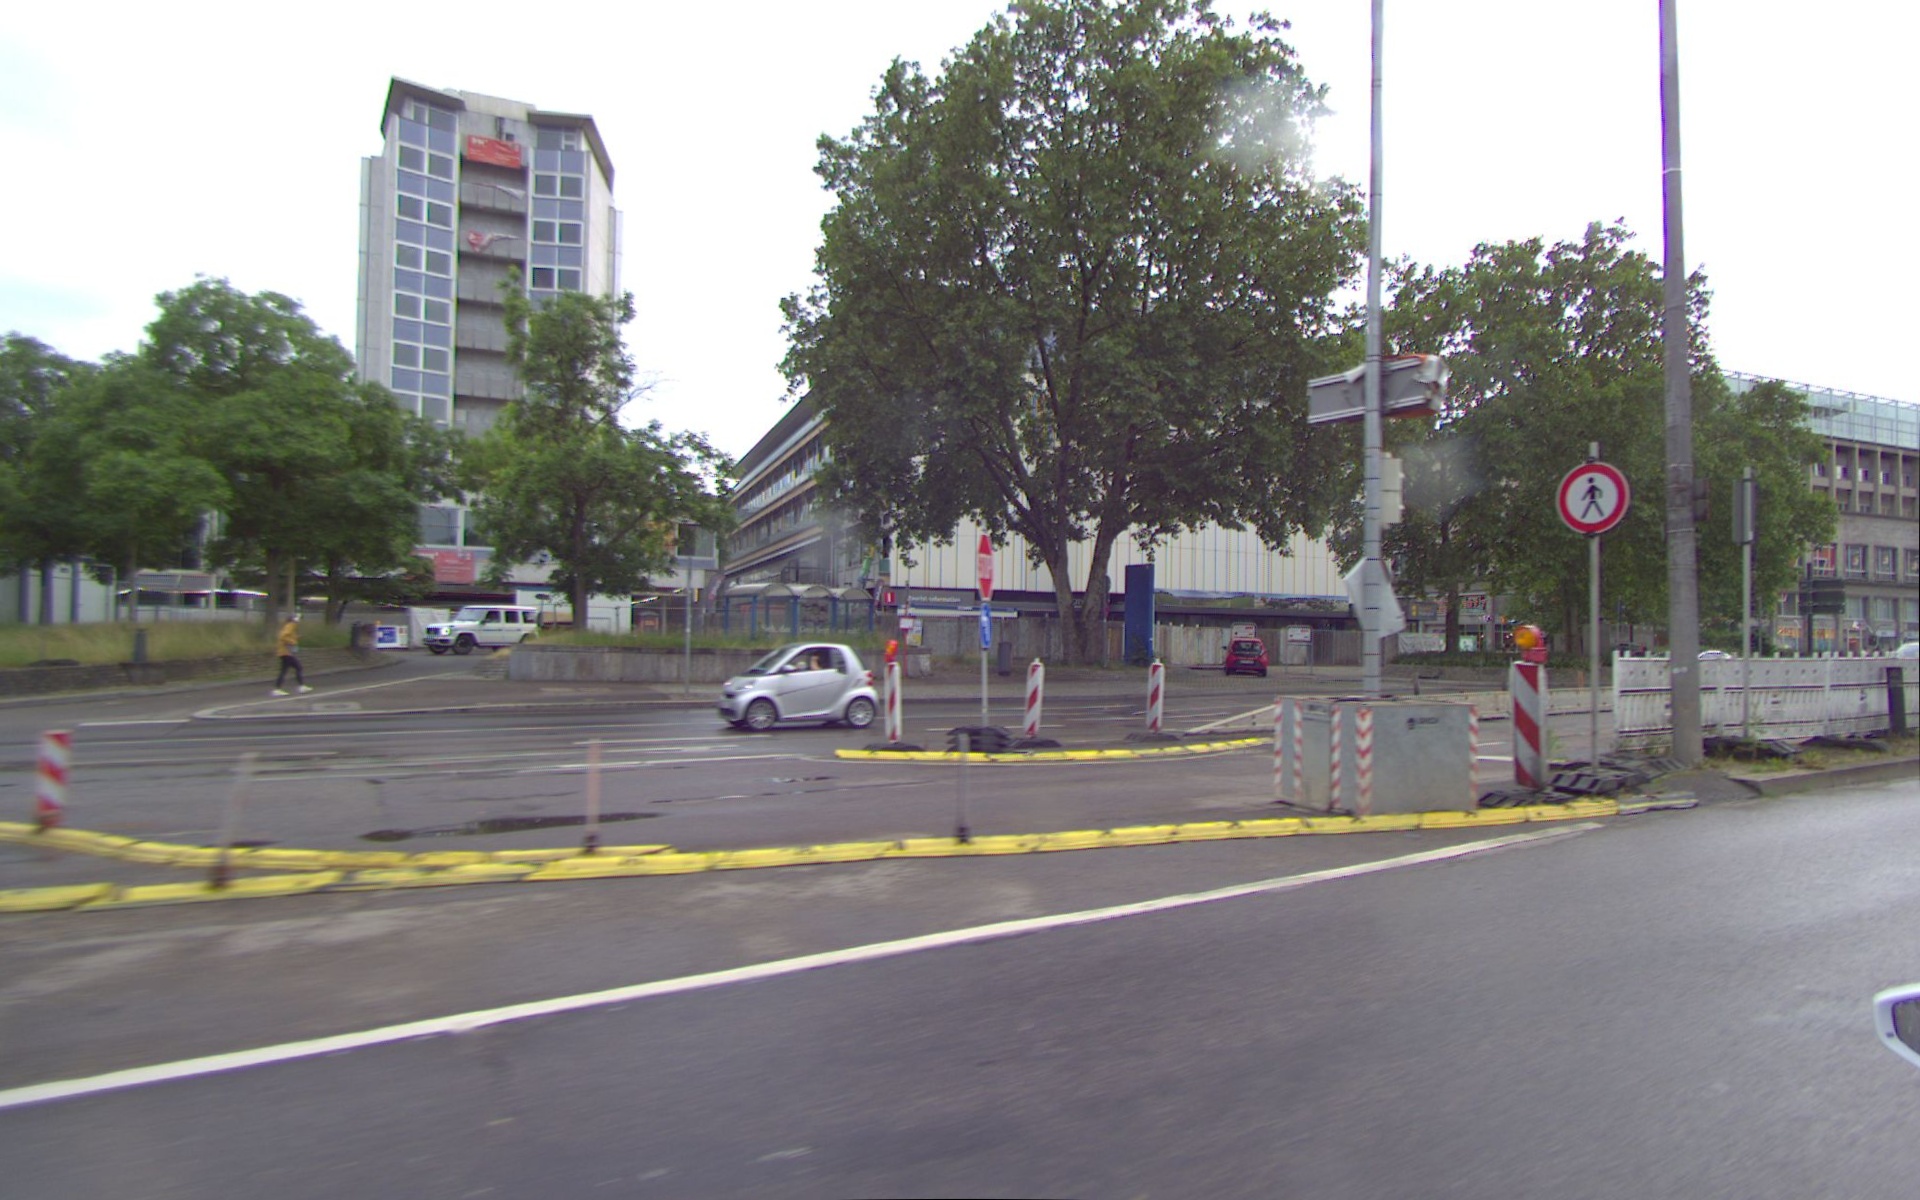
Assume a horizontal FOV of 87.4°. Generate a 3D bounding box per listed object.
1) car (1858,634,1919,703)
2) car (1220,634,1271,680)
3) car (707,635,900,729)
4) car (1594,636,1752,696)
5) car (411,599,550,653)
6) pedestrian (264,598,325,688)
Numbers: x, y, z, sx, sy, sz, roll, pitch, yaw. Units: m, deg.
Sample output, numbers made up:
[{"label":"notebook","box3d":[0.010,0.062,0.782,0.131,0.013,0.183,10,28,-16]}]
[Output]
[{"label":"car","box3d":[26.086,1.785,26.697,4.244,1.725,1.884,1,0,-26]},{"label":"car","box3d":[11.629,2.293,41.056,1.815,1.563,3.746,-2,1,13]},{"label":"car","box3d":[-2.855,1.453,18.309,3.132,1.563,1.673,2,-3,-27]},{"label":"car","box3d":[22.109,1.984,31.109,4.754,1.653,1.987,1,0,-26]},{"label":"car","box3d":[-19.325,1.045,40.723,1.999,2.040,4.825,0,-1,30]},{"label":"pedestrian","box3d":[-13.473,0.857,20.358,0.940,1.748,0.554,-2,1,-30]}]
